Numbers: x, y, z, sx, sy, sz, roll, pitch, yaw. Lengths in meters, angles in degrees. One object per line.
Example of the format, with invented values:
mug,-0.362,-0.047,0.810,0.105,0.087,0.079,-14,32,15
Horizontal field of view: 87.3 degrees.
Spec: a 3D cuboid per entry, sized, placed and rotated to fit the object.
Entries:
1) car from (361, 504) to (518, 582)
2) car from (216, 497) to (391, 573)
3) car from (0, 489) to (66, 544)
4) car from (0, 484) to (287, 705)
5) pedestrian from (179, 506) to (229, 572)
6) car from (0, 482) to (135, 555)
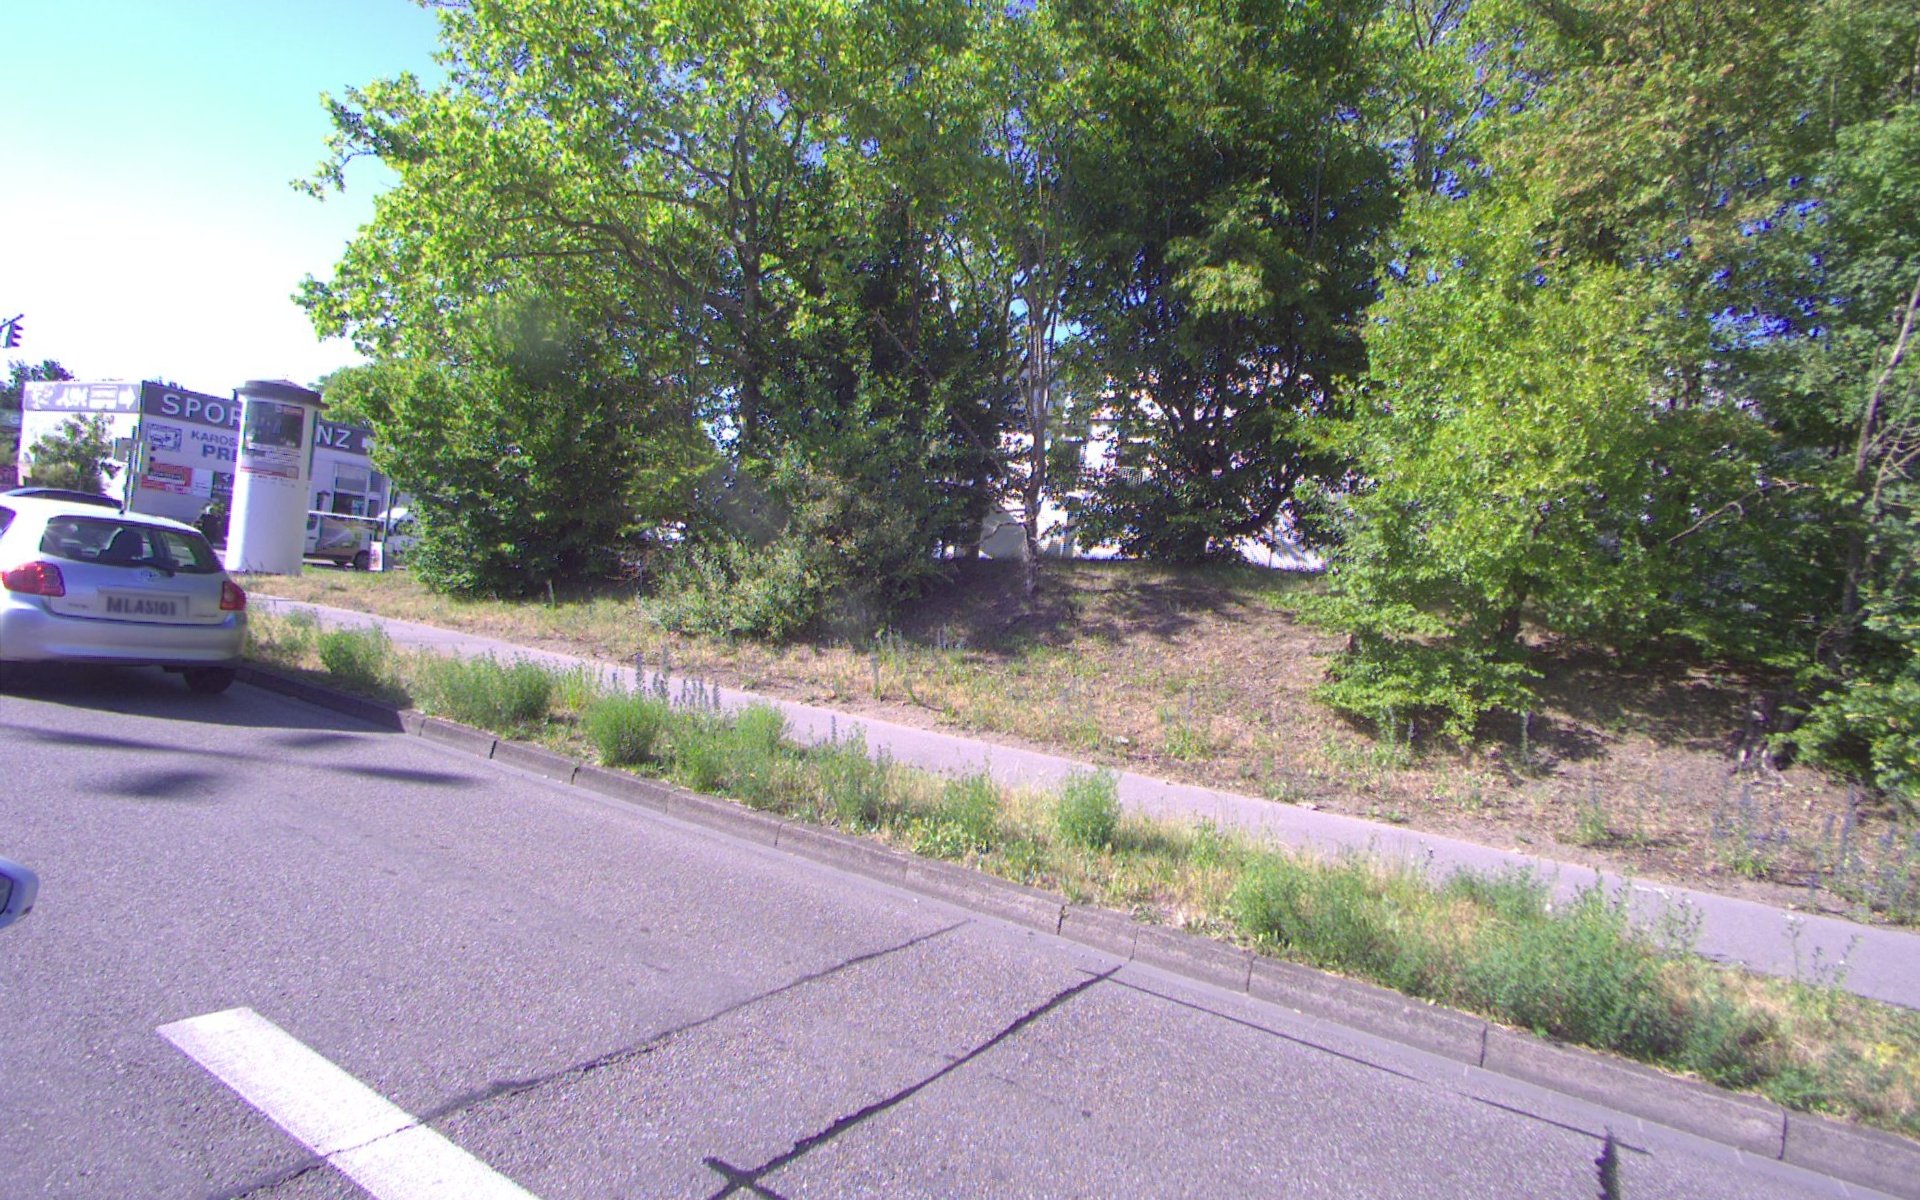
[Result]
car,-22.983,-2.465,44.727,1.967,2.706,5.840,6,0,32
car,-24.069,-2.328,37.102,1.849,2.060,4.962,7,-1,30
car,-31.325,-2.905,31.311,1.729,1.484,4.831,6,-2,30
car,-8.102,-0.166,9.020,4.039,1.555,1.787,7,-2,32
pedestrian,-21.015,-1.694,27.972,0.506,1.688,0.818,6,-1,31
car,-28.028,-2.539,30.453,1.611,1.668,4.316,6,-2,31
